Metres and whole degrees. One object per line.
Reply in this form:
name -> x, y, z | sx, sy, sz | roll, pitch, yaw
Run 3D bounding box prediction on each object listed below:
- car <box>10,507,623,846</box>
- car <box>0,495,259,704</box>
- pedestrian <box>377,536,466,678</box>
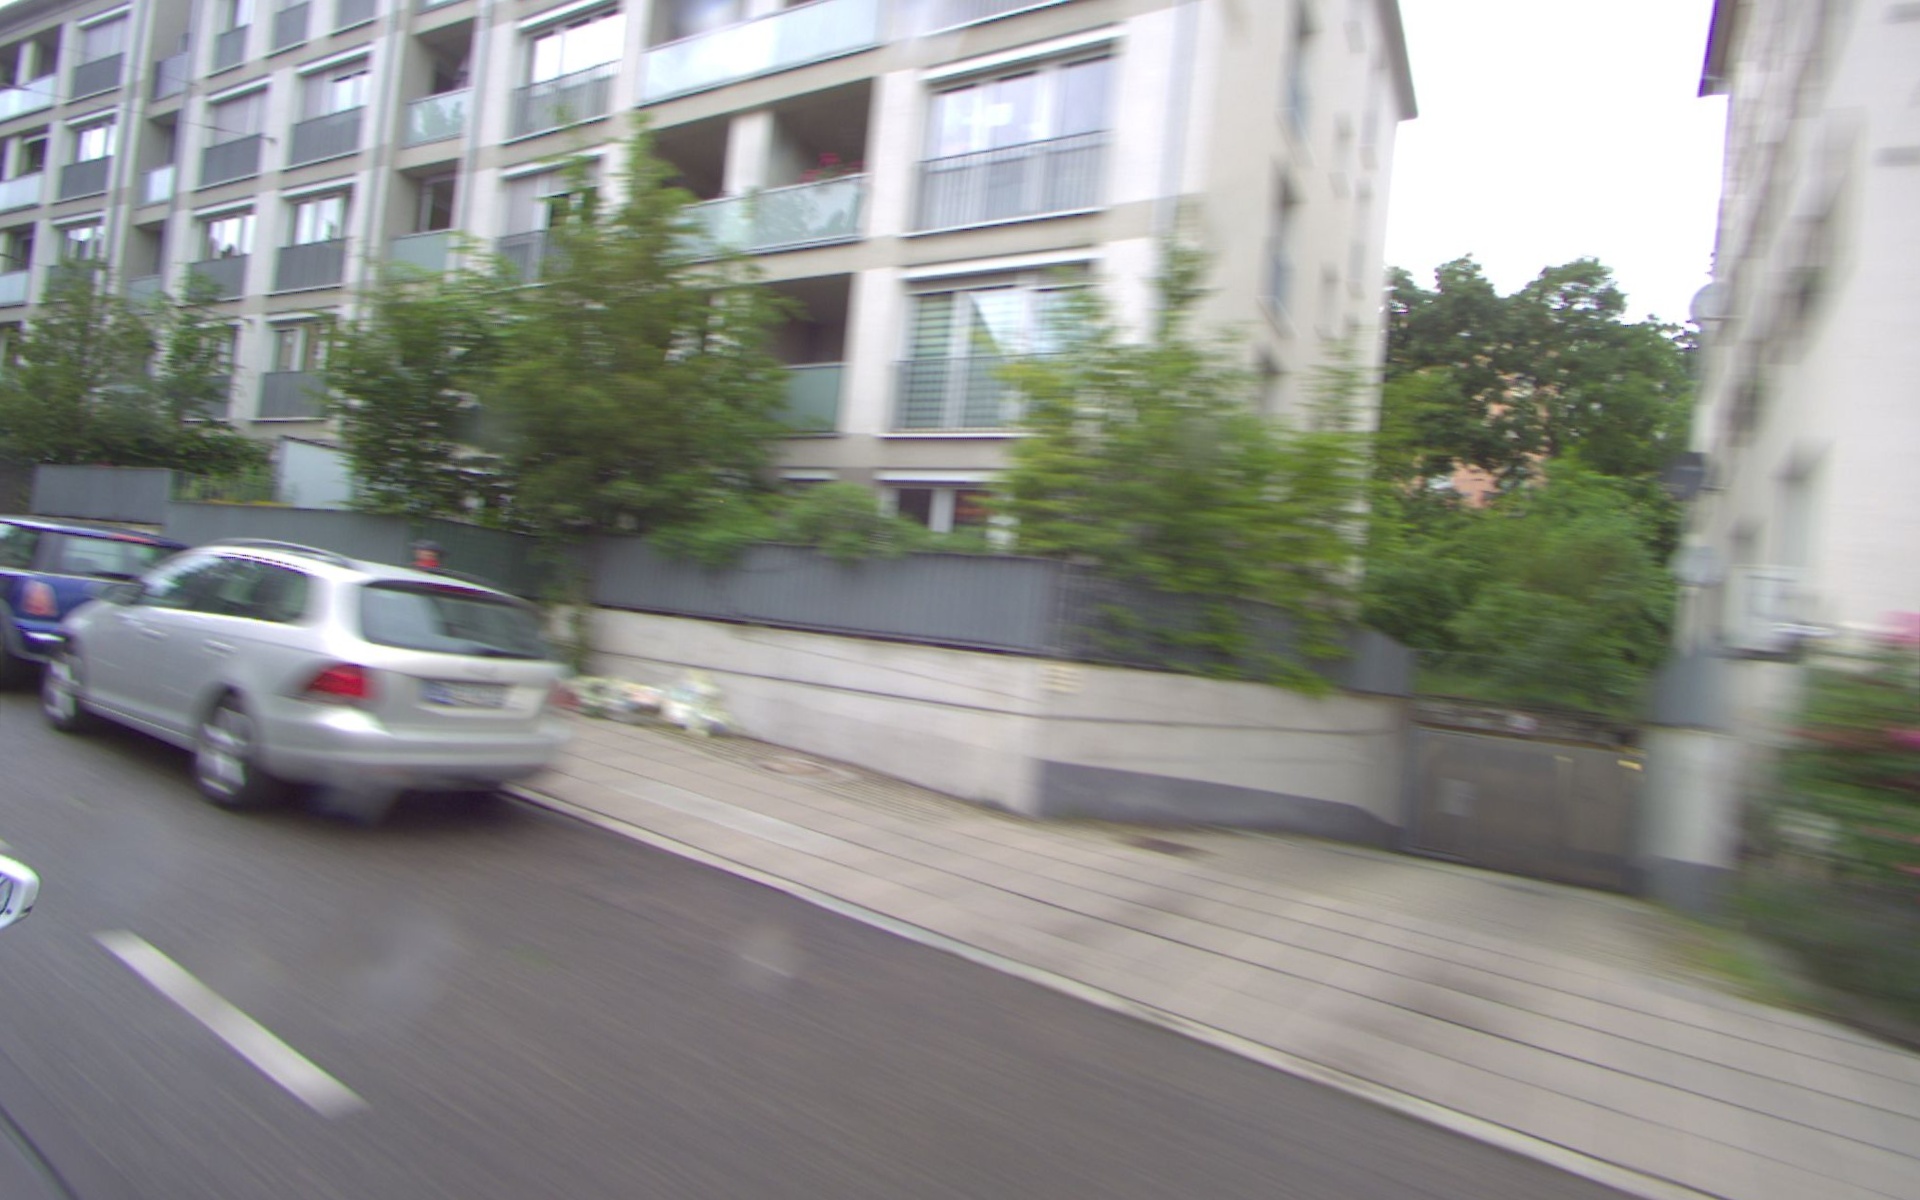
car -> -4.548, 0.365, 6.890 | 4.433, 1.488, 1.665 | 7, -3, 32
car -> -8.509, -0.119, 9.384 | 3.651, 1.529, 1.706 | 8, -2, 30
pedestrian -> -6.272, 0.081, 11.722 | 0.640, 1.562, 0.569 | 8, 2, 35
